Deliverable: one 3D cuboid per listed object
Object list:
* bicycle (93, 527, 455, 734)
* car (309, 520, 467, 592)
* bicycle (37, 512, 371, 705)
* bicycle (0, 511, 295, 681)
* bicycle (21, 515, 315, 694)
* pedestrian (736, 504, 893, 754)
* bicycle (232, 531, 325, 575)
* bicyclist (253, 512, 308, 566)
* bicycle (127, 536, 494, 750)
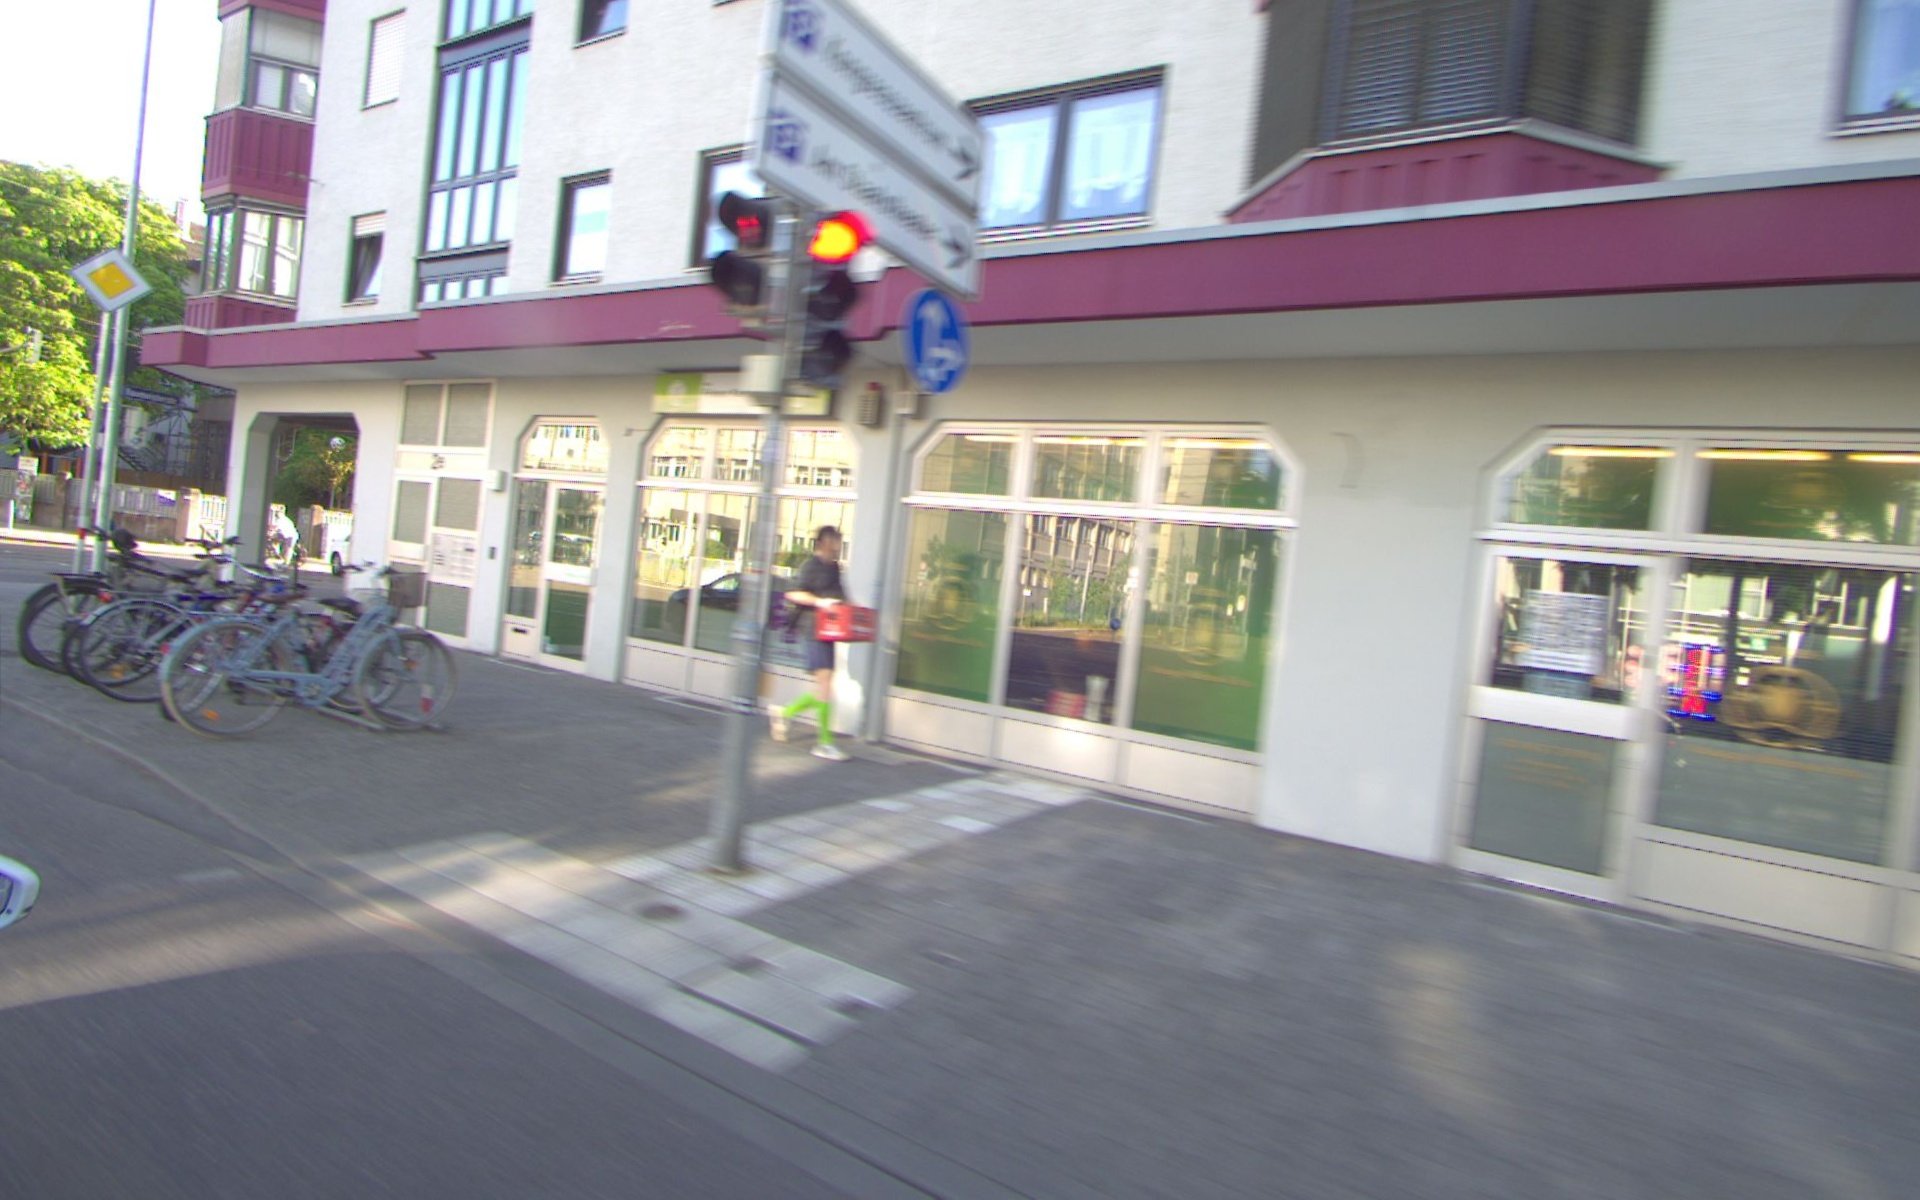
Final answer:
[{"bbox_3d":[-4.692,0.232,7.071,0.580,1.214,1.980,7,0,28],"label":"bicycle"},{"bbox_3d":[-16.405,-1.277,28.774,4.820,1.474,1.850,7,1,33],"label":"car"},{"bbox_3d":[-5.479,0.111,7.423,0.488,1.236,1.831,8,1,35],"label":"bicycle"},{"bbox_3d":[-6.553,0.017,8.140,0.537,1.214,1.801,6,0,36],"label":"bicycle"},{"bbox_3d":[-5.977,0.078,7.685,0.488,1.214,1.622,7,1,36],"label":"bicycle"},{"bbox_3d":[-1.177,0.228,8.182,0.788,1.881,0.723,7,1,32],"label":"pedestrian"},{"bbox_3d":[-21.683,-1.475,32.063,0.830,1.133,2.330,7,0,21],"label":"bicycle"},{"bbox_3d":[-21.634,-1.933,32.040,0.993,1.528,0.928,7,1,21],"label":"bicyclist"},{"bbox_3d":[-4.197,0.291,6.699,0.562,1.185,1.943,7,0,29],"label":"bicycle"}]
